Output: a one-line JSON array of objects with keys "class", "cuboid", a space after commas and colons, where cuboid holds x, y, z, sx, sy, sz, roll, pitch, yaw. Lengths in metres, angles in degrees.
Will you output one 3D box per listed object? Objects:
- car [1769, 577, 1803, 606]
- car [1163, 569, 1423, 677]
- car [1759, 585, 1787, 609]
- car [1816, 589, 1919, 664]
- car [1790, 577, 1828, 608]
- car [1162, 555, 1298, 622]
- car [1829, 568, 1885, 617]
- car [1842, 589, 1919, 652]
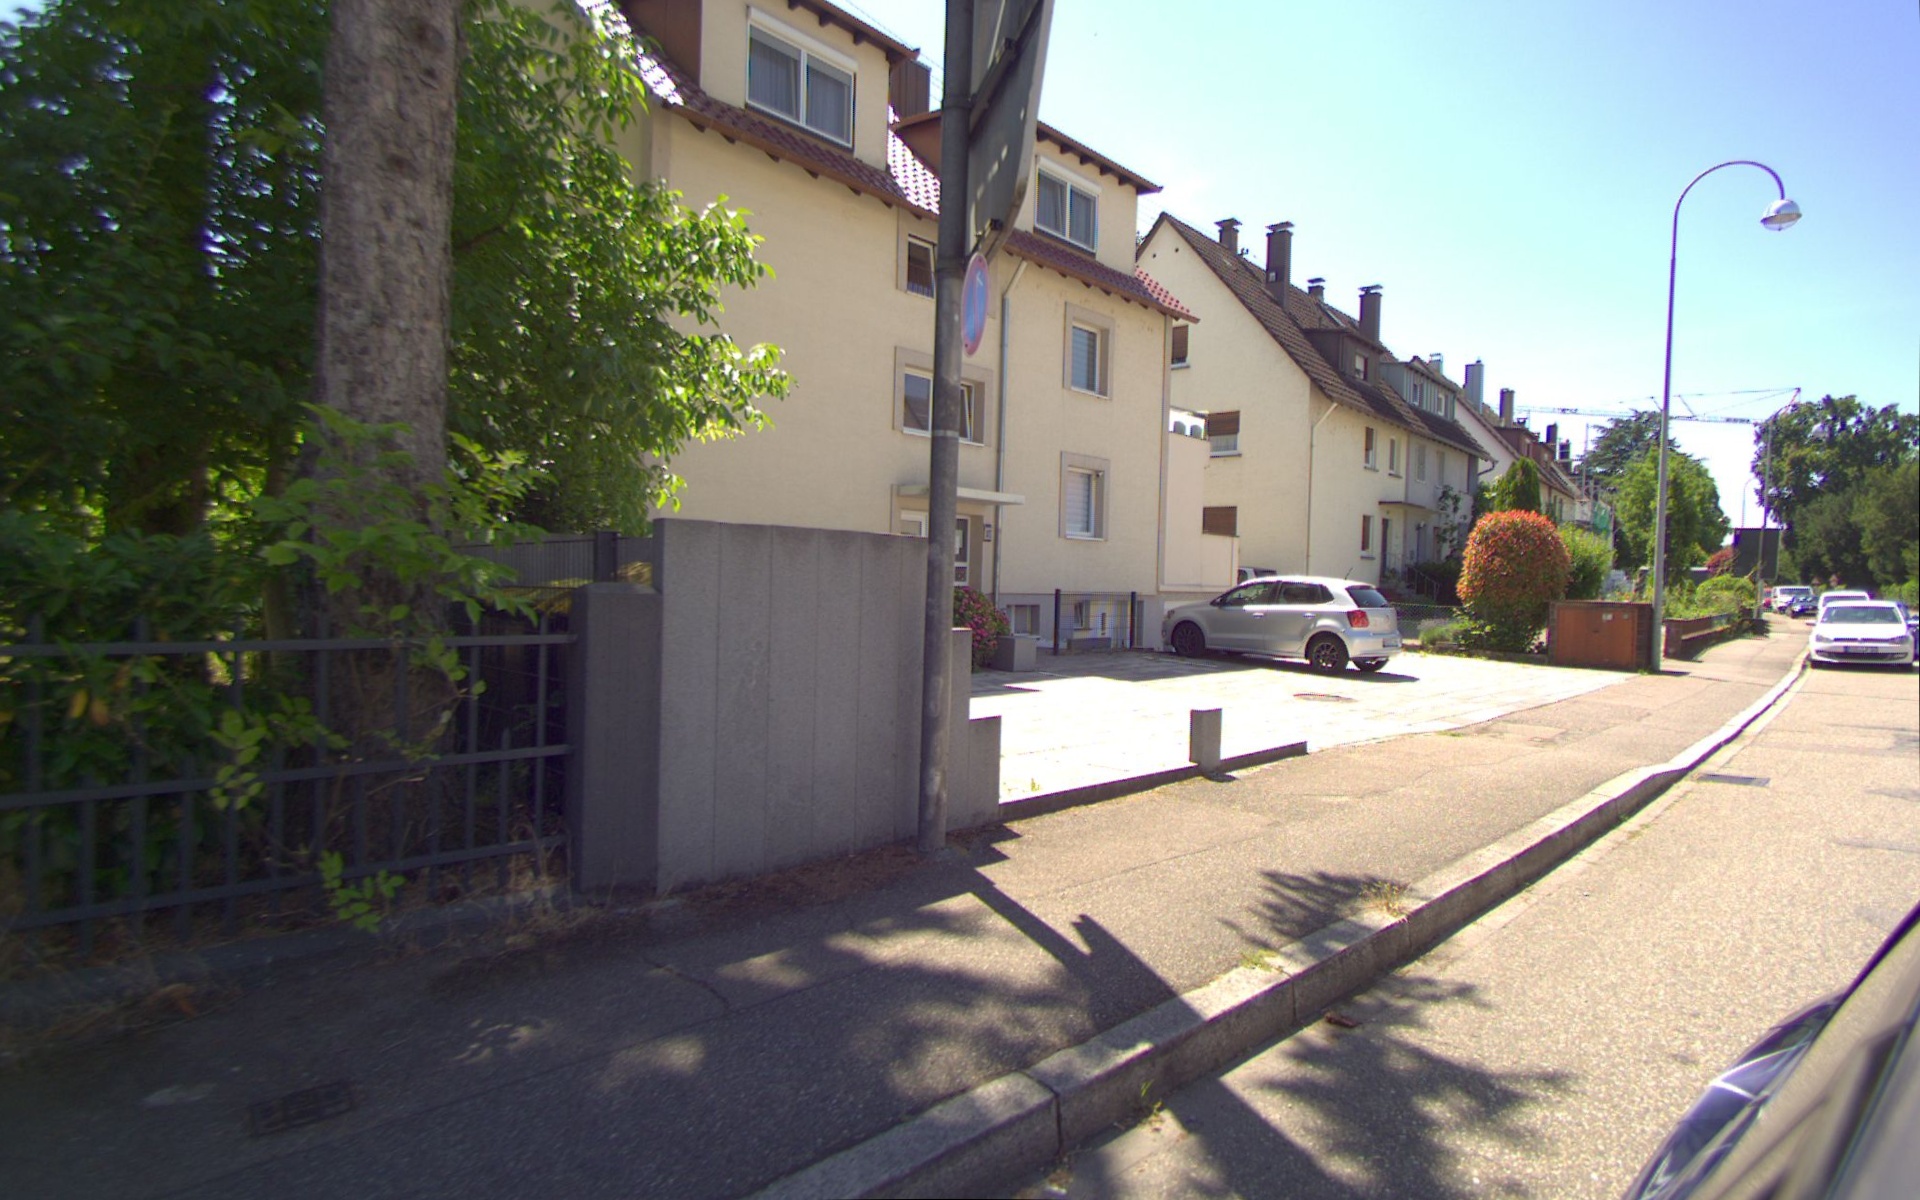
[{"class": "car", "cuboid": [54.278, -0.588, 66.533, 1.682, 1.802, 3.884, 0, 1, 40]}, {"class": "car", "cuboid": [5.295, 0.328, 16.380, 1.748, 1.549, 3.622, 0, 0, -43]}, {"class": "car", "cuboid": [62.267, -0.233, 77.487, 1.682, 1.802, 3.884, 0, 1, 40]}, {"class": "car", "cuboid": [19.806, 0.519, 21.990, 1.684, 1.473, 3.682, 1, 1, 43]}, {"class": "car", "cuboid": [50.301, -0.473, 60.030, 1.682, 1.802, 3.884, 0, 1, 40]}, {"class": "car", "cuboid": [7.228, -0.342, 27.217, 3.147, 1.571, 1.547, 5, 3, 41]}, {"class": "car", "cuboid": [36.977, -0.355, 41.739, 1.683, 1.801, 3.882, 0, 3, 42]}, {"class": "car", "cuboid": [24.002, 0.479, 26.171, 1.684, 1.472, 4.296, 1, 1, 42]}]
